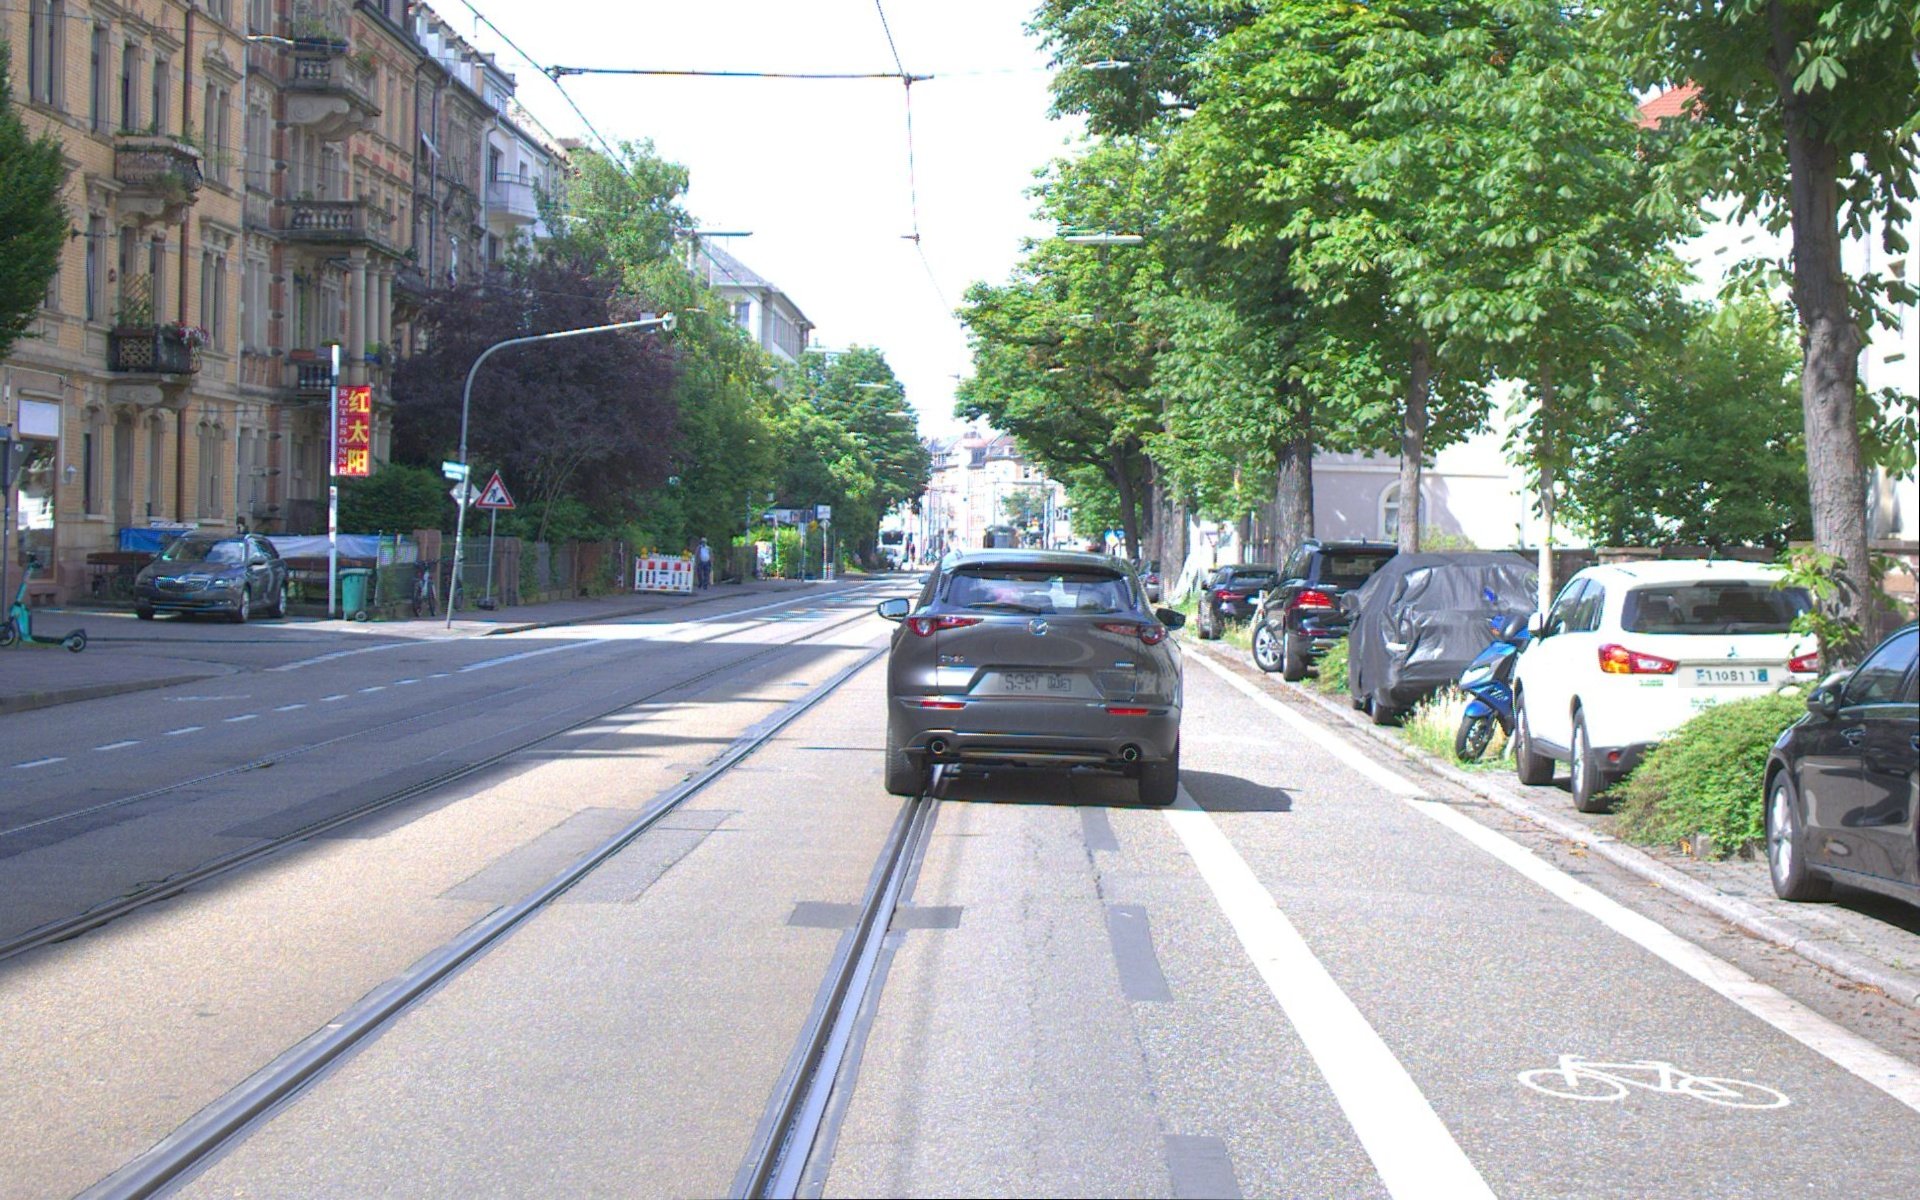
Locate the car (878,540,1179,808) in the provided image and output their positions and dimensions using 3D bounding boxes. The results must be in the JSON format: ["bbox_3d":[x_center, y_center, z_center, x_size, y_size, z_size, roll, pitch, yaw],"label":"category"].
[{"bbox_3d":[0.424,0.414,21.836,1.720,1.521,3.589,1,1,1],"label":"car"}]

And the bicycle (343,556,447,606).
[{"bbox_3d":[-11.160,-0.372,67.950,1.961,0.943,0.532,1,0,-3],"label":"bicycle"}]

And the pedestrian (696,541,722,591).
[{"bbox_3d":[-8.564,-1.154,117.479,0.822,1.700,0.891,1,0,-2],"label":"pedestrian"}]

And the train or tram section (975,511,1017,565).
[{"bbox_3d":[2.620,-4.539,252.632,2.571,3.759,13.027,2,1,-1],"label":"train or tram section"}]

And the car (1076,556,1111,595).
[{"bbox_3d":[6.925,-1.288,178.301,1.721,1.962,4.207,1,1,2],"label":"car"}]

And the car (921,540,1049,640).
[{"bbox_3d":[0.438,-0.178,58.153,1.993,1.523,4.000,4,0,1],"label":"car"}]

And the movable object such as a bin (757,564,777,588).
[{"bbox_3d":[-8.427,-1.056,150.241,0.745,0.984,1.114,4,0,1],"label":"movable object such as a bin"}]

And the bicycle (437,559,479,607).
[{"bbox_3d":[-10.138,-0.344,69.471,0.530,0.943,1.968,1,1,1],"label":"bicycle"}]

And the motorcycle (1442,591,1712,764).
[{"bbox_3d":[4.987,0.620,27.849,2.006,1.332,0.747,1,1,-3],"label":"motorcycle"}]

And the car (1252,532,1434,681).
[{"bbox_3d":[4.858,0.039,44.172,1.827,1.776,4.733,1,1,1],"label":"car"}]

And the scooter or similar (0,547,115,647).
[{"bbox_3d":[-11.624,-0.036,44.229,1.361,1.230,0.404,2,0,-27],"label":"scooter or similar"}]

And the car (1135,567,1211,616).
[{"bbox_3d":[6.302,-0.271,102.146,1.846,1.404,4.395,-1,0,-2],"label":"car"}]

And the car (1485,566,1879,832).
[{"bbox_3d":[4.763,0.588,23.262,1.742,1.575,4.249,2,1,0],"label":"car"}]

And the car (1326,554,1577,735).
[{"bbox_3d":[4.851,0.391,34.519,1.862,1.647,4.637,1,1,1],"label":"car"}]

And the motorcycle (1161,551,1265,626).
[{"bbox_3d":[5.847,-0.267,79.486,2.385,1.592,0.677,4,2,40],"label":"motorcycle"}]

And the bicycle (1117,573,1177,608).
[{"bbox_3d":[6.258,-0.309,115.099,1.938,1.172,0.513,0,0,13],"label":"bicycle"}]

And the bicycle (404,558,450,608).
[{"bbox_3d":[-10.158,-0.329,65.549,0.530,0.943,1.968,1,1,1],"label":"bicycle"}]

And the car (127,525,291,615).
[{"bbox_3d":[-12.838,-0.525,59.028,1.685,1.454,4.764,1,1,1],"label":"car"}]

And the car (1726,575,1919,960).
[{"bbox_3d":[4.679,0.684,15.054,1.660,1.516,4.288,2,1,0],"label":"car"}]

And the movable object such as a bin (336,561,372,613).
[{"bbox_3d":[-10.827,-0.233,61.440,0.525,0.902,0.636,1,1,0],"label":"movable object such as a bin"}]

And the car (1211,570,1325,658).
[{"bbox_3d":[5.680,0.232,63.832,1.706,1.474,4.197,4,0,1],"label":"car"}]
